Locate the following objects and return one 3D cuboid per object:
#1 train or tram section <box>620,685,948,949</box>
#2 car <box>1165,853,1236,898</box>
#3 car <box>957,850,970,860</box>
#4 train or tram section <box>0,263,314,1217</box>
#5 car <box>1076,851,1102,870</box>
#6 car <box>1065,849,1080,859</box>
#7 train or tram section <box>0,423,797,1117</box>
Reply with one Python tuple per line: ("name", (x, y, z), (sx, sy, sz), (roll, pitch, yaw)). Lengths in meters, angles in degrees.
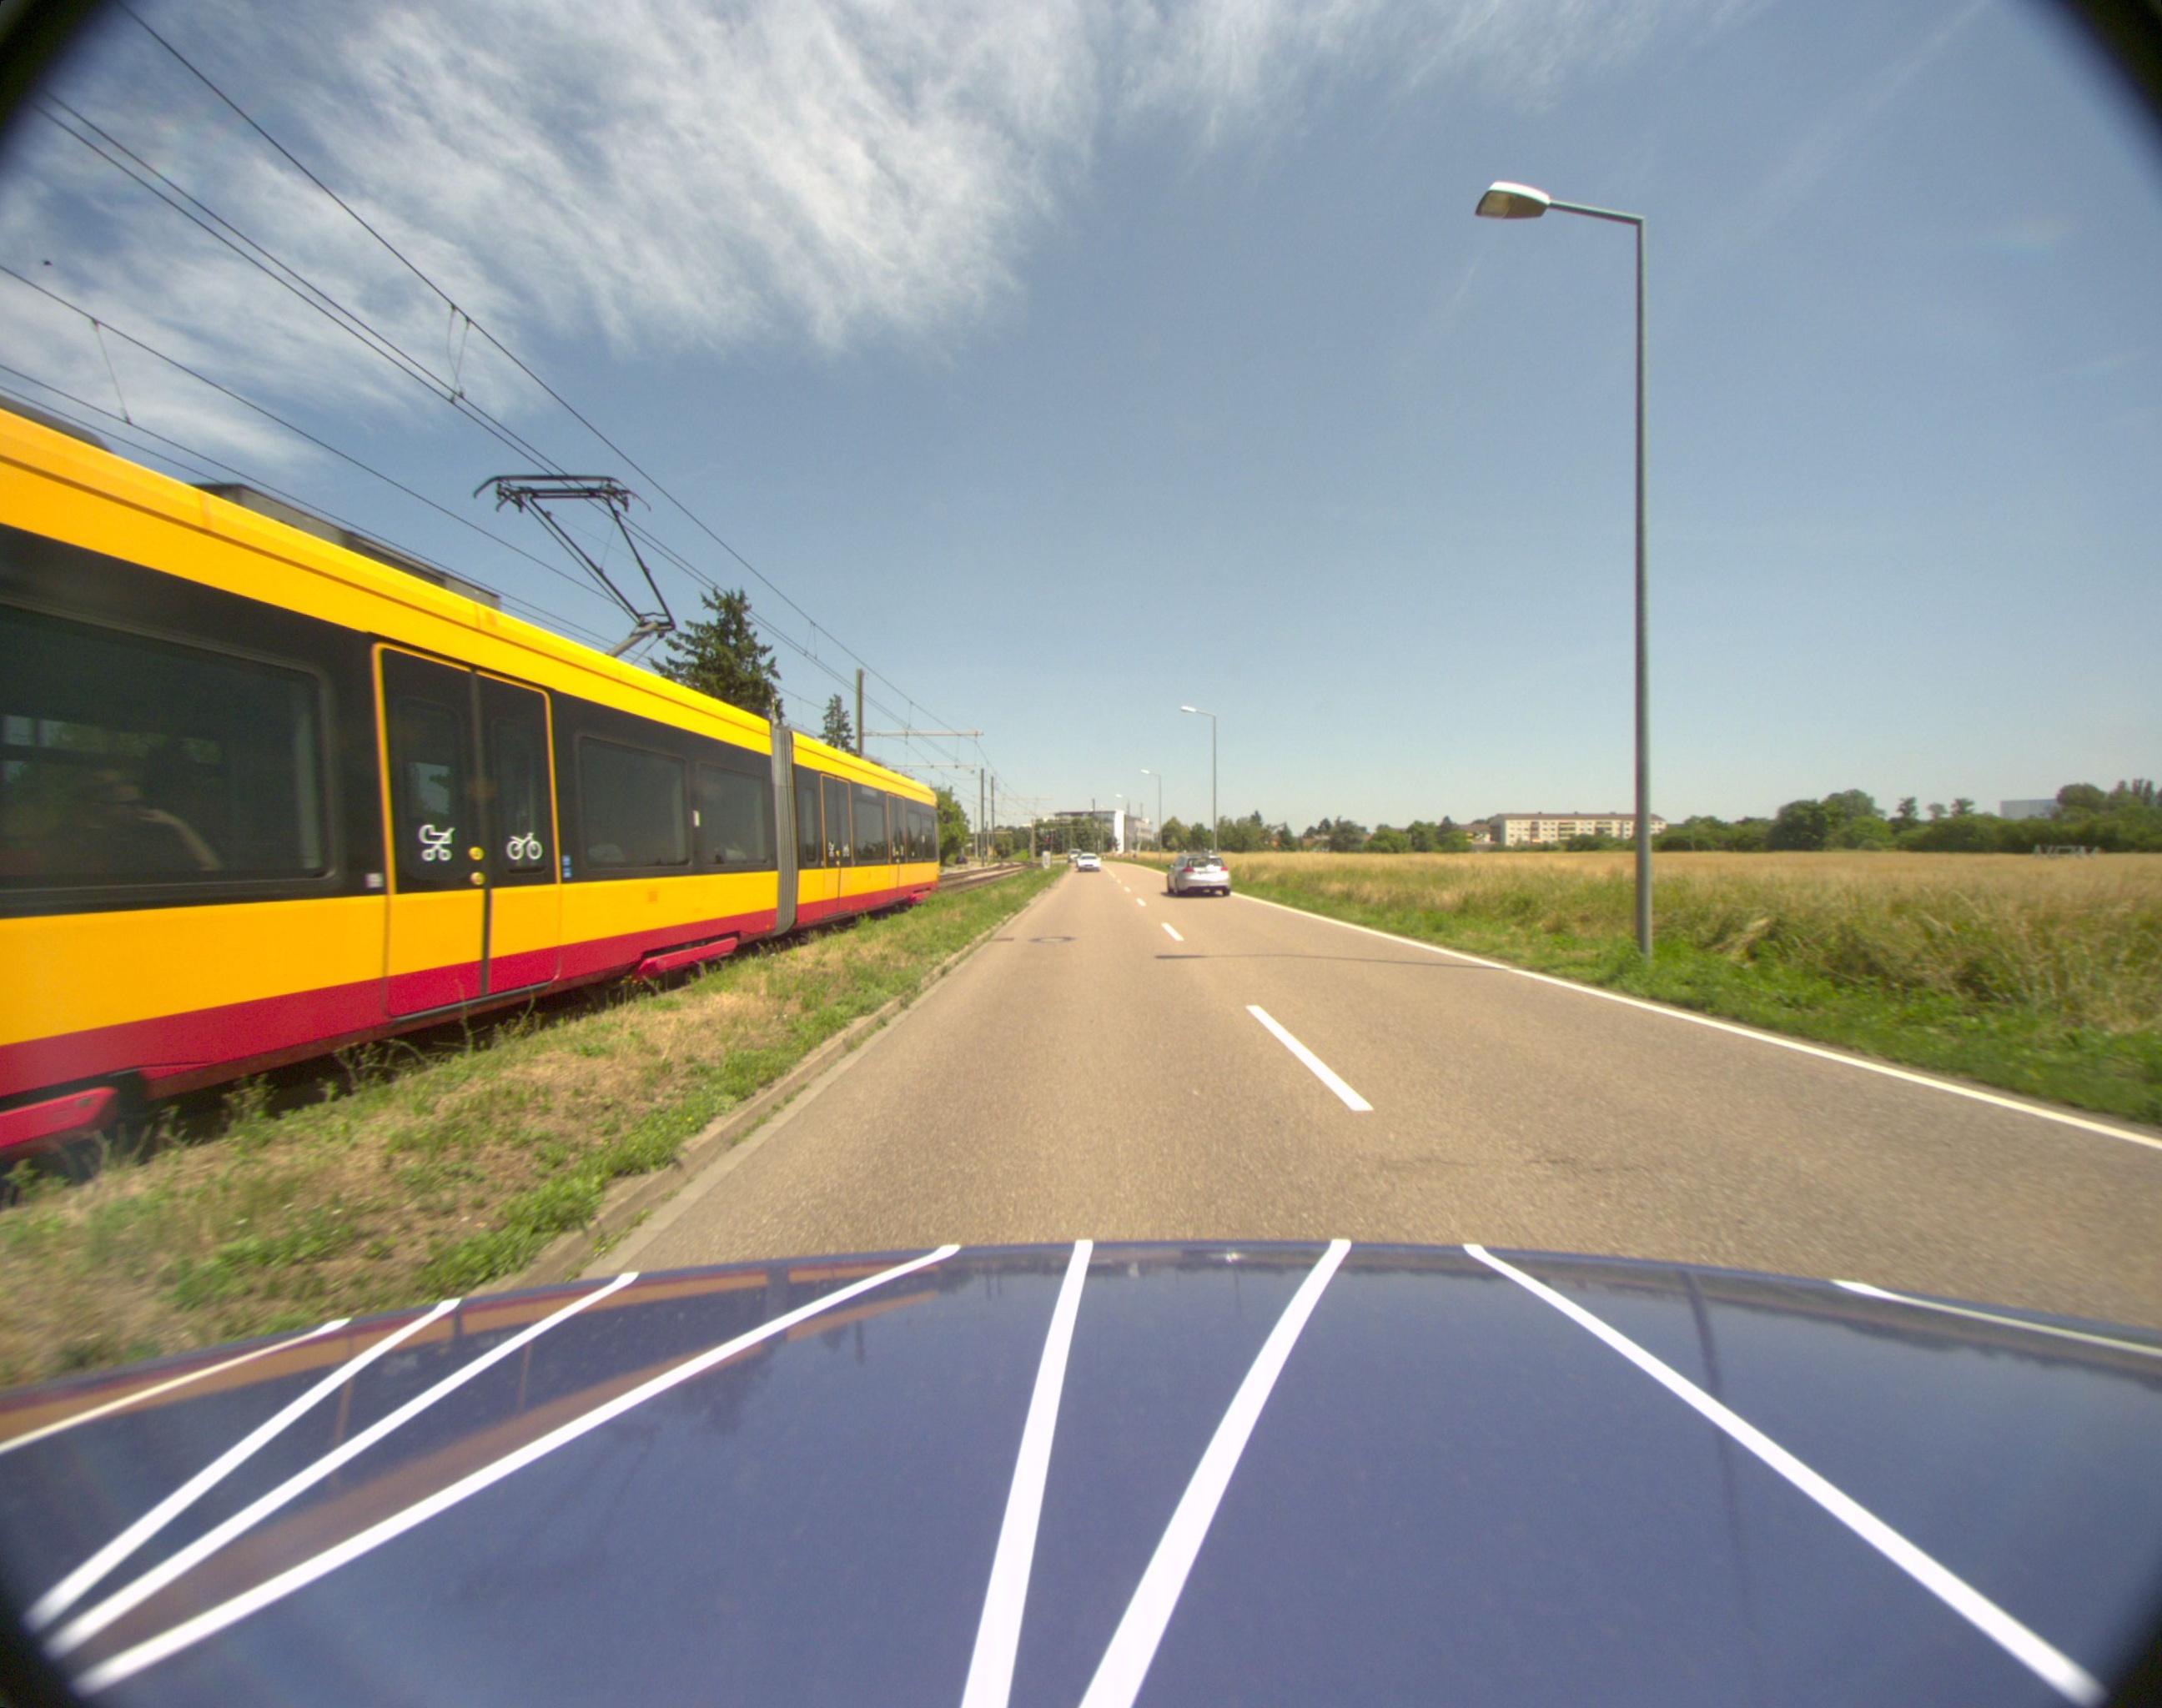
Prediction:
("train or tram section", (-5.217, -0.641, 16.578), (2.435, 3.745, 11.556), (0, 1, 1))
("car", (4.160, 0.706, 27.102), (1.839, 1.458, 4.678), (-1, 0, 1))
("car", (-18.422, 0.184, 119.418), (1.802, 1.418, 4.736), (0, 1, -7))
("train or tram section", (-5.626, -0.395, 0.767), (2.708, 3.745, 6.728), (0, 1, 1))
("car", (0.692, 0.516, 62.948), (1.771, 1.434, 4.130), (0, 1, 5))
("car", (-1.148, -0.044, 103.917), (1.633, 1.242, 3.160), (-1, 1, -8))
("train or tram section", (-5.392, -0.491, 7.433), (2.567, 3.692, 6.728), (0, 1, 1))
